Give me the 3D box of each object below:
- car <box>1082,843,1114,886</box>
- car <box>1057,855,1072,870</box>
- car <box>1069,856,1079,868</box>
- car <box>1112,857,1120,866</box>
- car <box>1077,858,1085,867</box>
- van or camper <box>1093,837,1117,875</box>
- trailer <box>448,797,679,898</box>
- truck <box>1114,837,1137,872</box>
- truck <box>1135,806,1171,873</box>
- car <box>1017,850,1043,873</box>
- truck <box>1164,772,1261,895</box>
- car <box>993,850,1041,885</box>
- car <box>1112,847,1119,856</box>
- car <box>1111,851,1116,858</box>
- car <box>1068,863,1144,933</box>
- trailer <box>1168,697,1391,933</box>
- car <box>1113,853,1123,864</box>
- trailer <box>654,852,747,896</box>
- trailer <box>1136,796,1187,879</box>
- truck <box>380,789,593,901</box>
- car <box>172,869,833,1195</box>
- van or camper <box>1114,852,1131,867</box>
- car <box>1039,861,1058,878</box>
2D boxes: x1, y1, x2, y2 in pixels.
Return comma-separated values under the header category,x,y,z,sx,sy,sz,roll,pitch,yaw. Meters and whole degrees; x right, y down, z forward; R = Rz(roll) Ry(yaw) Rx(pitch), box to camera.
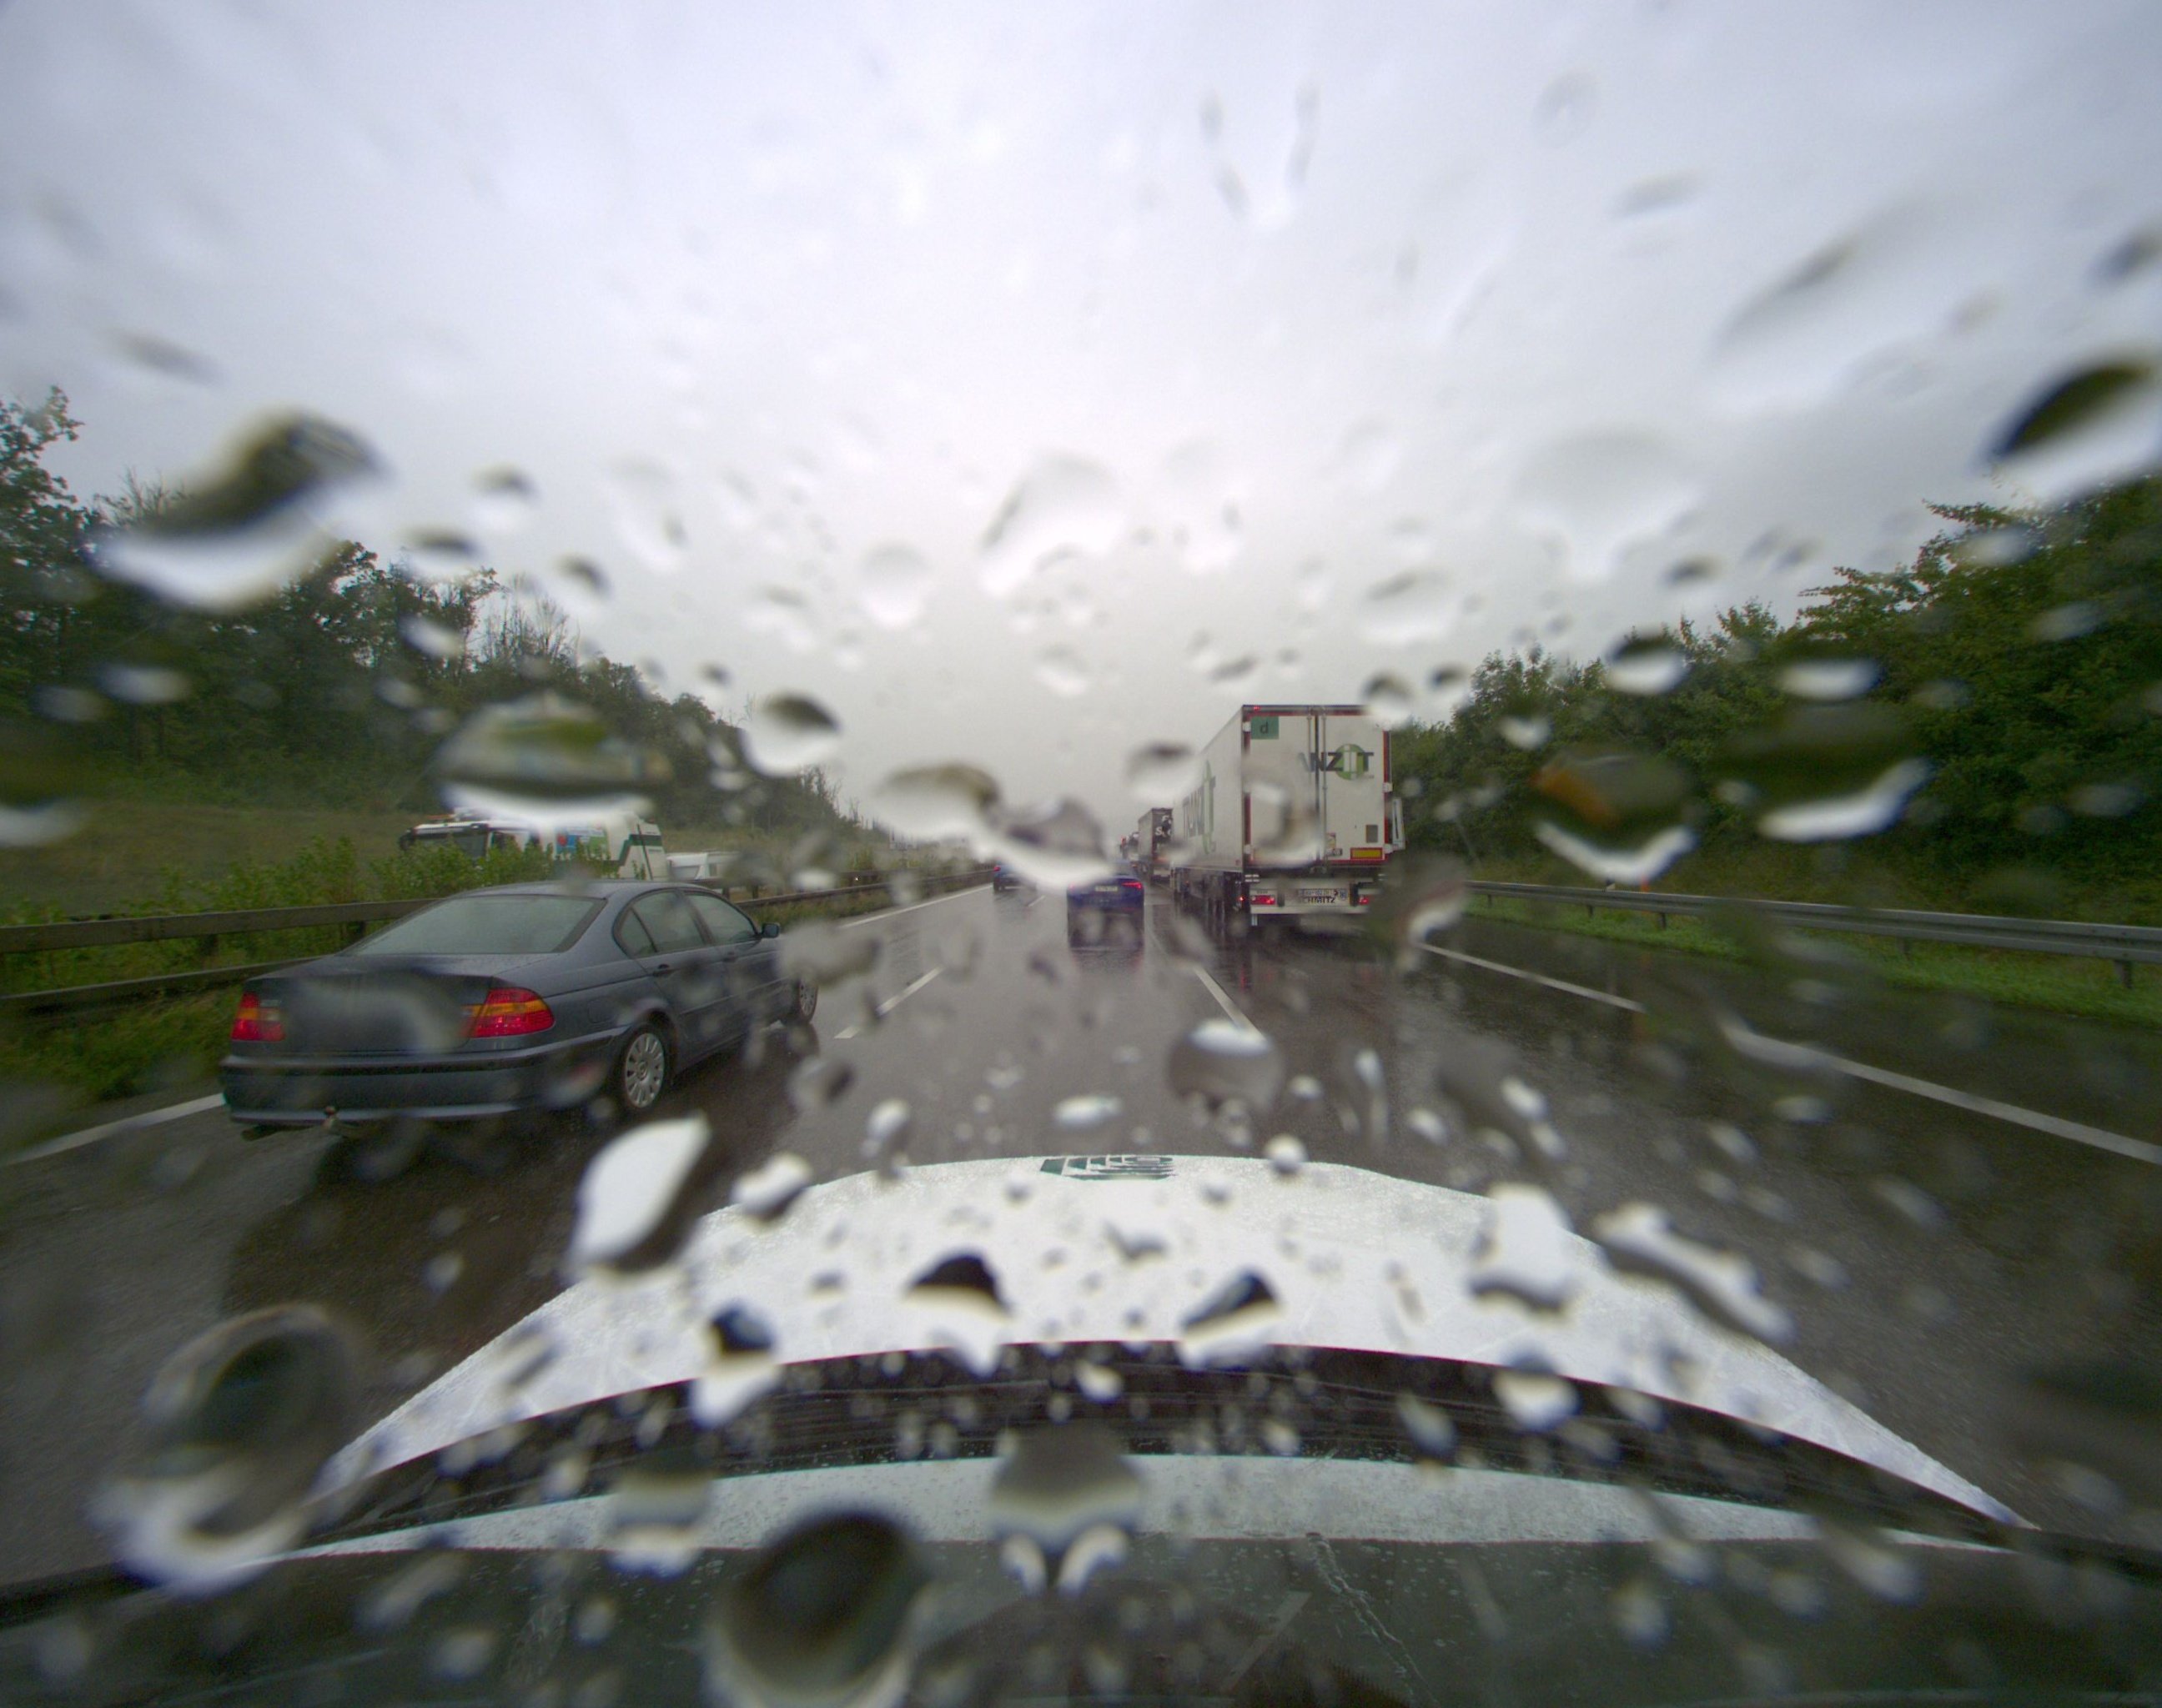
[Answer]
category,x,y,z,sx,sy,sz,roll,pitch,yaw
car,0.779,0.429,36.197,1.332,1.780,3.323,-1,0,1
car,-1.728,0.900,86.131,1.434,1.533,3.323,-1,0,1
car,-1.129,1.218,126.531,1.443,1.784,3.410,-1,0,1
car,6.283,1.346,146.113,1.244,1.512,3.109,-2,1,1
car,-0.041,1.637,165.660,1.443,1.784,3.410,-1,0,1
van or camper,1.850,0.122,63.069,1.791,2.806,4.769,-1,0,1
trailer,-16.335,-0.100,26.497,2.472,2.719,7.327,-3,-1,2
truck,4.494,0.030,83.335,1.987,3.421,8.032,-1,1,0
truck,4.666,-0.915,53.019,2.039,4.193,4.001,-1,0,1
car,-3.348,0.490,54.098,1.354,1.431,3.365,-1,0,2
truck,4.376,-0.641,28.026,2.621,3.827,4.793,-1,0,1
car,-2.943,0.609,37.892,1.715,1.523,4.002,-1,0,2
car,7.305,-0.571,170.572,1.331,1.890,3.041,-2,0,1
car,8.956,0.188,225.013,1.443,1.784,3.410,-1,0,1
car,0.620,0.965,19.562,1.629,1.445,4.002,-1,0,2
trailer,4.189,-0.699,21.329,2.621,4.013,14.634,-1,0,2
car,6.100,0.789,134.413,1.443,1.784,3.410,-1,0,1
trailer,-19.293,1.036,41.664,2.085,2.014,5.350,-3,-1,1
trailer,4.500,-0.866,47.379,2.039,4.176,11.452,-1,0,2
truck,-16.500,-0.178,22.980,2.472,2.719,4.530,-3,-1,2
car,-3.325,0.860,5.889,1.712,1.400,4.229,-1,0,0
van or camper,4.742,0.606,93.710,1.765,1.625,4.485,-1,1,1
car,-2.765,1.324,70.194,1.434,1.420,3.323,-1,0,1
